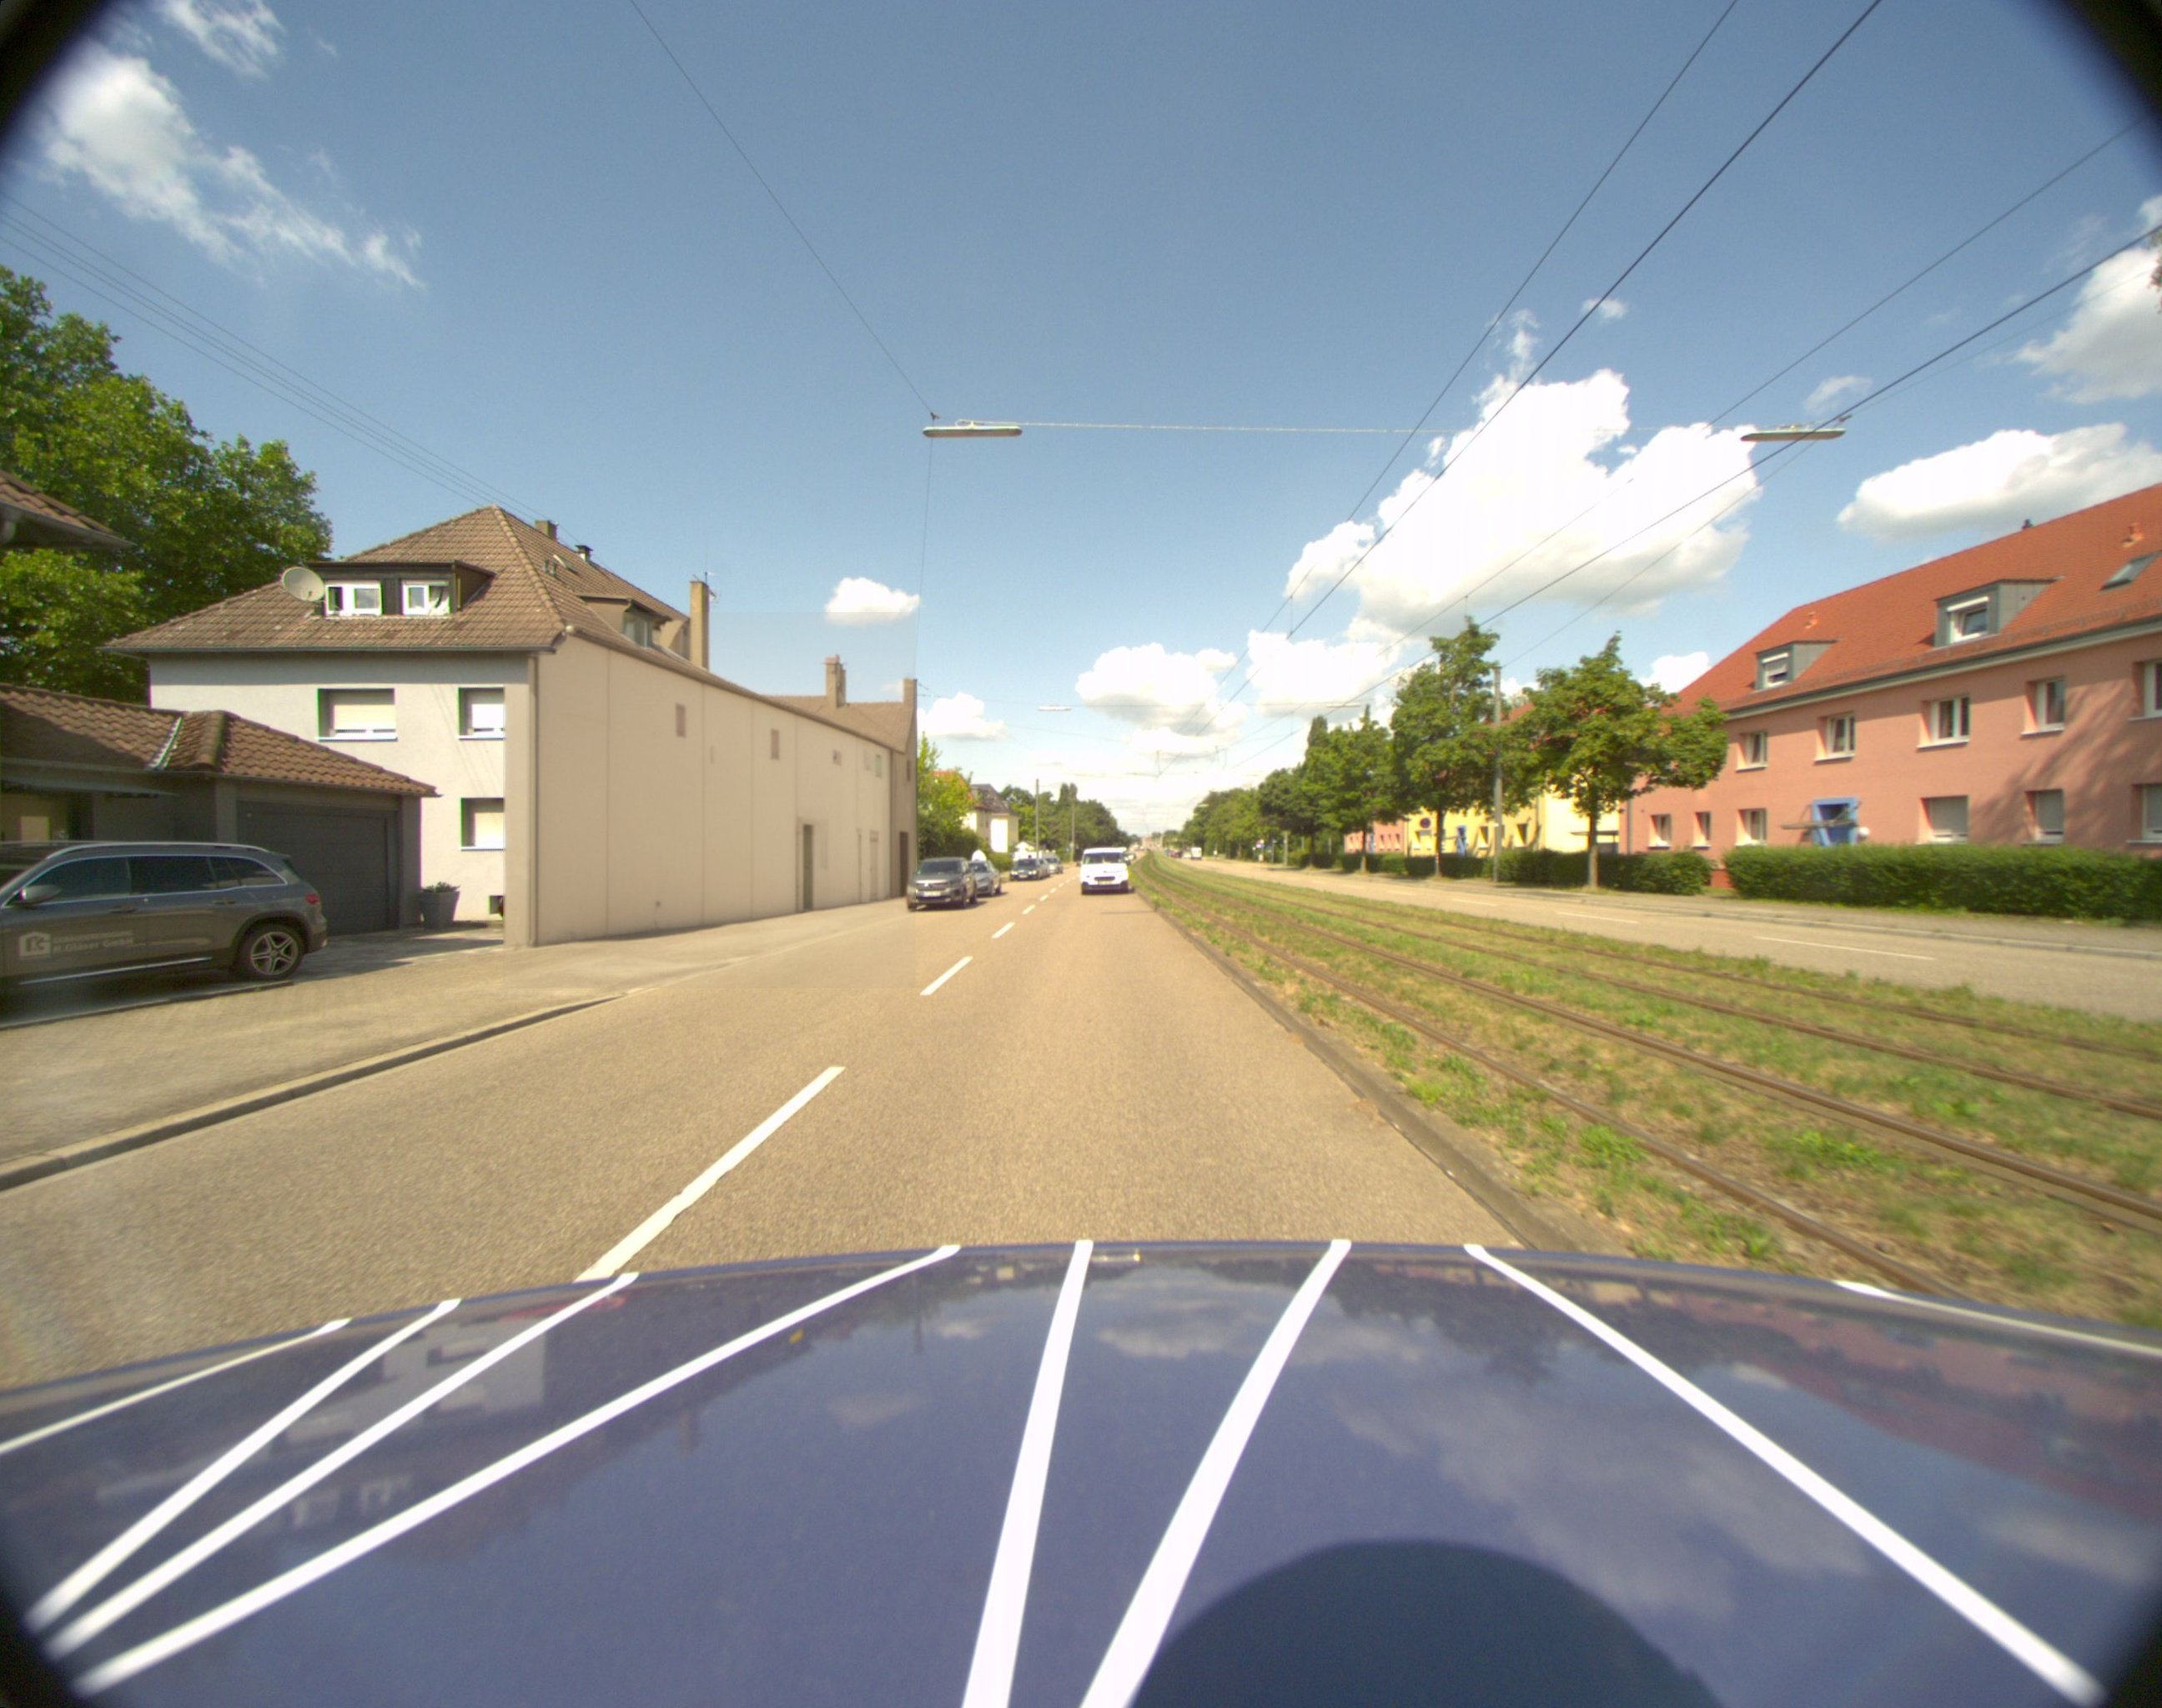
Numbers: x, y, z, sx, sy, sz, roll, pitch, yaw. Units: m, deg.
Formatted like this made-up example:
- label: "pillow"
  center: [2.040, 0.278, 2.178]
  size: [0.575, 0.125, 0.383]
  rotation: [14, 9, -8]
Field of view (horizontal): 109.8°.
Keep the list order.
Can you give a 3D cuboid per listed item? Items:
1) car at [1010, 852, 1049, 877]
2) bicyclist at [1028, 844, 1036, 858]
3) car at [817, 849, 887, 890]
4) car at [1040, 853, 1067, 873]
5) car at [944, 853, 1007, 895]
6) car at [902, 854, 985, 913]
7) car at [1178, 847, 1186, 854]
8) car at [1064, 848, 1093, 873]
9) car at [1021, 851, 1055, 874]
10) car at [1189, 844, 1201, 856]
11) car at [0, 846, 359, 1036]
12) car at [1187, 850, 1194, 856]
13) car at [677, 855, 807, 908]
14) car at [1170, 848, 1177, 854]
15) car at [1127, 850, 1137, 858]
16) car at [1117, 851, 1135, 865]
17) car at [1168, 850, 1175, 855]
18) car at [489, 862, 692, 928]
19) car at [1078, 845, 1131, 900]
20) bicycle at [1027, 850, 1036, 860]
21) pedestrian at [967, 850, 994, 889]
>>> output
- label: "car"
  center: [-3.288, 0.648, 49.555]
  size: [1.904, 1.435, 5.058]
  rotation: [-2, 0, 3]
- label: "bicyclist"
  center: [-5.003, -0.297, 77.589]
  size: [0.689, 1.345, 0.665]
  rotation: [0, 1, 11]
- label: "car"
  center: [-10.076, 0.619, 33.824]
  size: [1.761, 1.637, 4.768]
  rotation: [0, 1, -1]
- label: "car"
  center: [-2.314, 0.734, 64.305]
  size: [1.741, 1.481, 4.095]
  rotation: [-2, 1, 5]
- label: "car"
  center: [-4.172, 0.741, 30.693]
  size: [1.819, 1.446, 4.642]
  rotation: [-2, 1, 0]
- label: "car"
  center: [-4.244, 0.864, 24.086]
  size: [1.812, 1.550, 4.252]
  rotation: [-2, 1, 0]
- label: "car"
  center: [24.691, -0.937, 186.562]
  size: [1.689, 1.736, 4.228]
  rotation: [-1, 1, 5]
- label: "car"
  center: [-0.167, 0.435, 51.669]
  size: [1.777, 1.540, 3.999]
  rotation: [-3, 1, 0]
- label: "car"
  center: [-3.075, 0.594, 54.989]
  size: [1.894, 1.447, 5.006]
  rotation: [-2, 1, 2]
- label: "car"
  center: [23.806, -0.776, 159.381]
  size: [2.036, 2.422, 5.779]
  rotation: [1, 1, 5]
- label: "car"
  center: [-10.687, 0.778, 7.831]
  size: [1.841, 1.701, 4.863]
  rotation: [1, 0, 0]
- label: "car"
  center: [27.860, -0.299, 193.196]
  size: [1.689, 1.423, 4.277]
  rotation: [-1, 1, 5]
- label: "car"
  center: [-10.432, 0.787, 23.868]
  size: [1.803, 1.415, 4.857]
  rotation: [0, 1, 1]
- label: "car"
  center: [26.921, -0.816, 221.628]
  size: [1.731, 1.570, 4.277]
  rotation: [-1, 1, 4]
- label: "car"
  center: [10.089, 0.039, 150.564]
  size: [1.998, 1.477, 4.000]
  rotation: [-2, 1, 3]
- label: "car"
  center: [5.705, 0.487, 95.958]
  size: [1.998, 1.576, 4.000]
  rotation: [-2, 1, 5]
- label: "car"
  center: [28.357, -0.521, 237.442]
  size: [2.120, 1.642, 4.278]
  rotation: [-1, 1, 6]
- label: "car"
  center: [-11.567, 0.941, 18.107]
  size: [3.658, 1.372, 1.726]
  rotation: [-1, 2, -1]
- label: "car"
  center: [0.806, 0.617, 28.667]
  size: [1.777, 1.850, 4.374]
  rotation: [-2, 1, 0]
- label: "bicycle"
  center: [-5.030, 0.092, 77.480]
  size: [0.556, 1.059, 1.524]
  rotation: [0, 1, 11]
- label: "pedestrian"
  center: [-5.105, 0.766, 38.621]
  size: [1.114, 1.935, 1.092]
  rotation: [-1, 2, 4]
